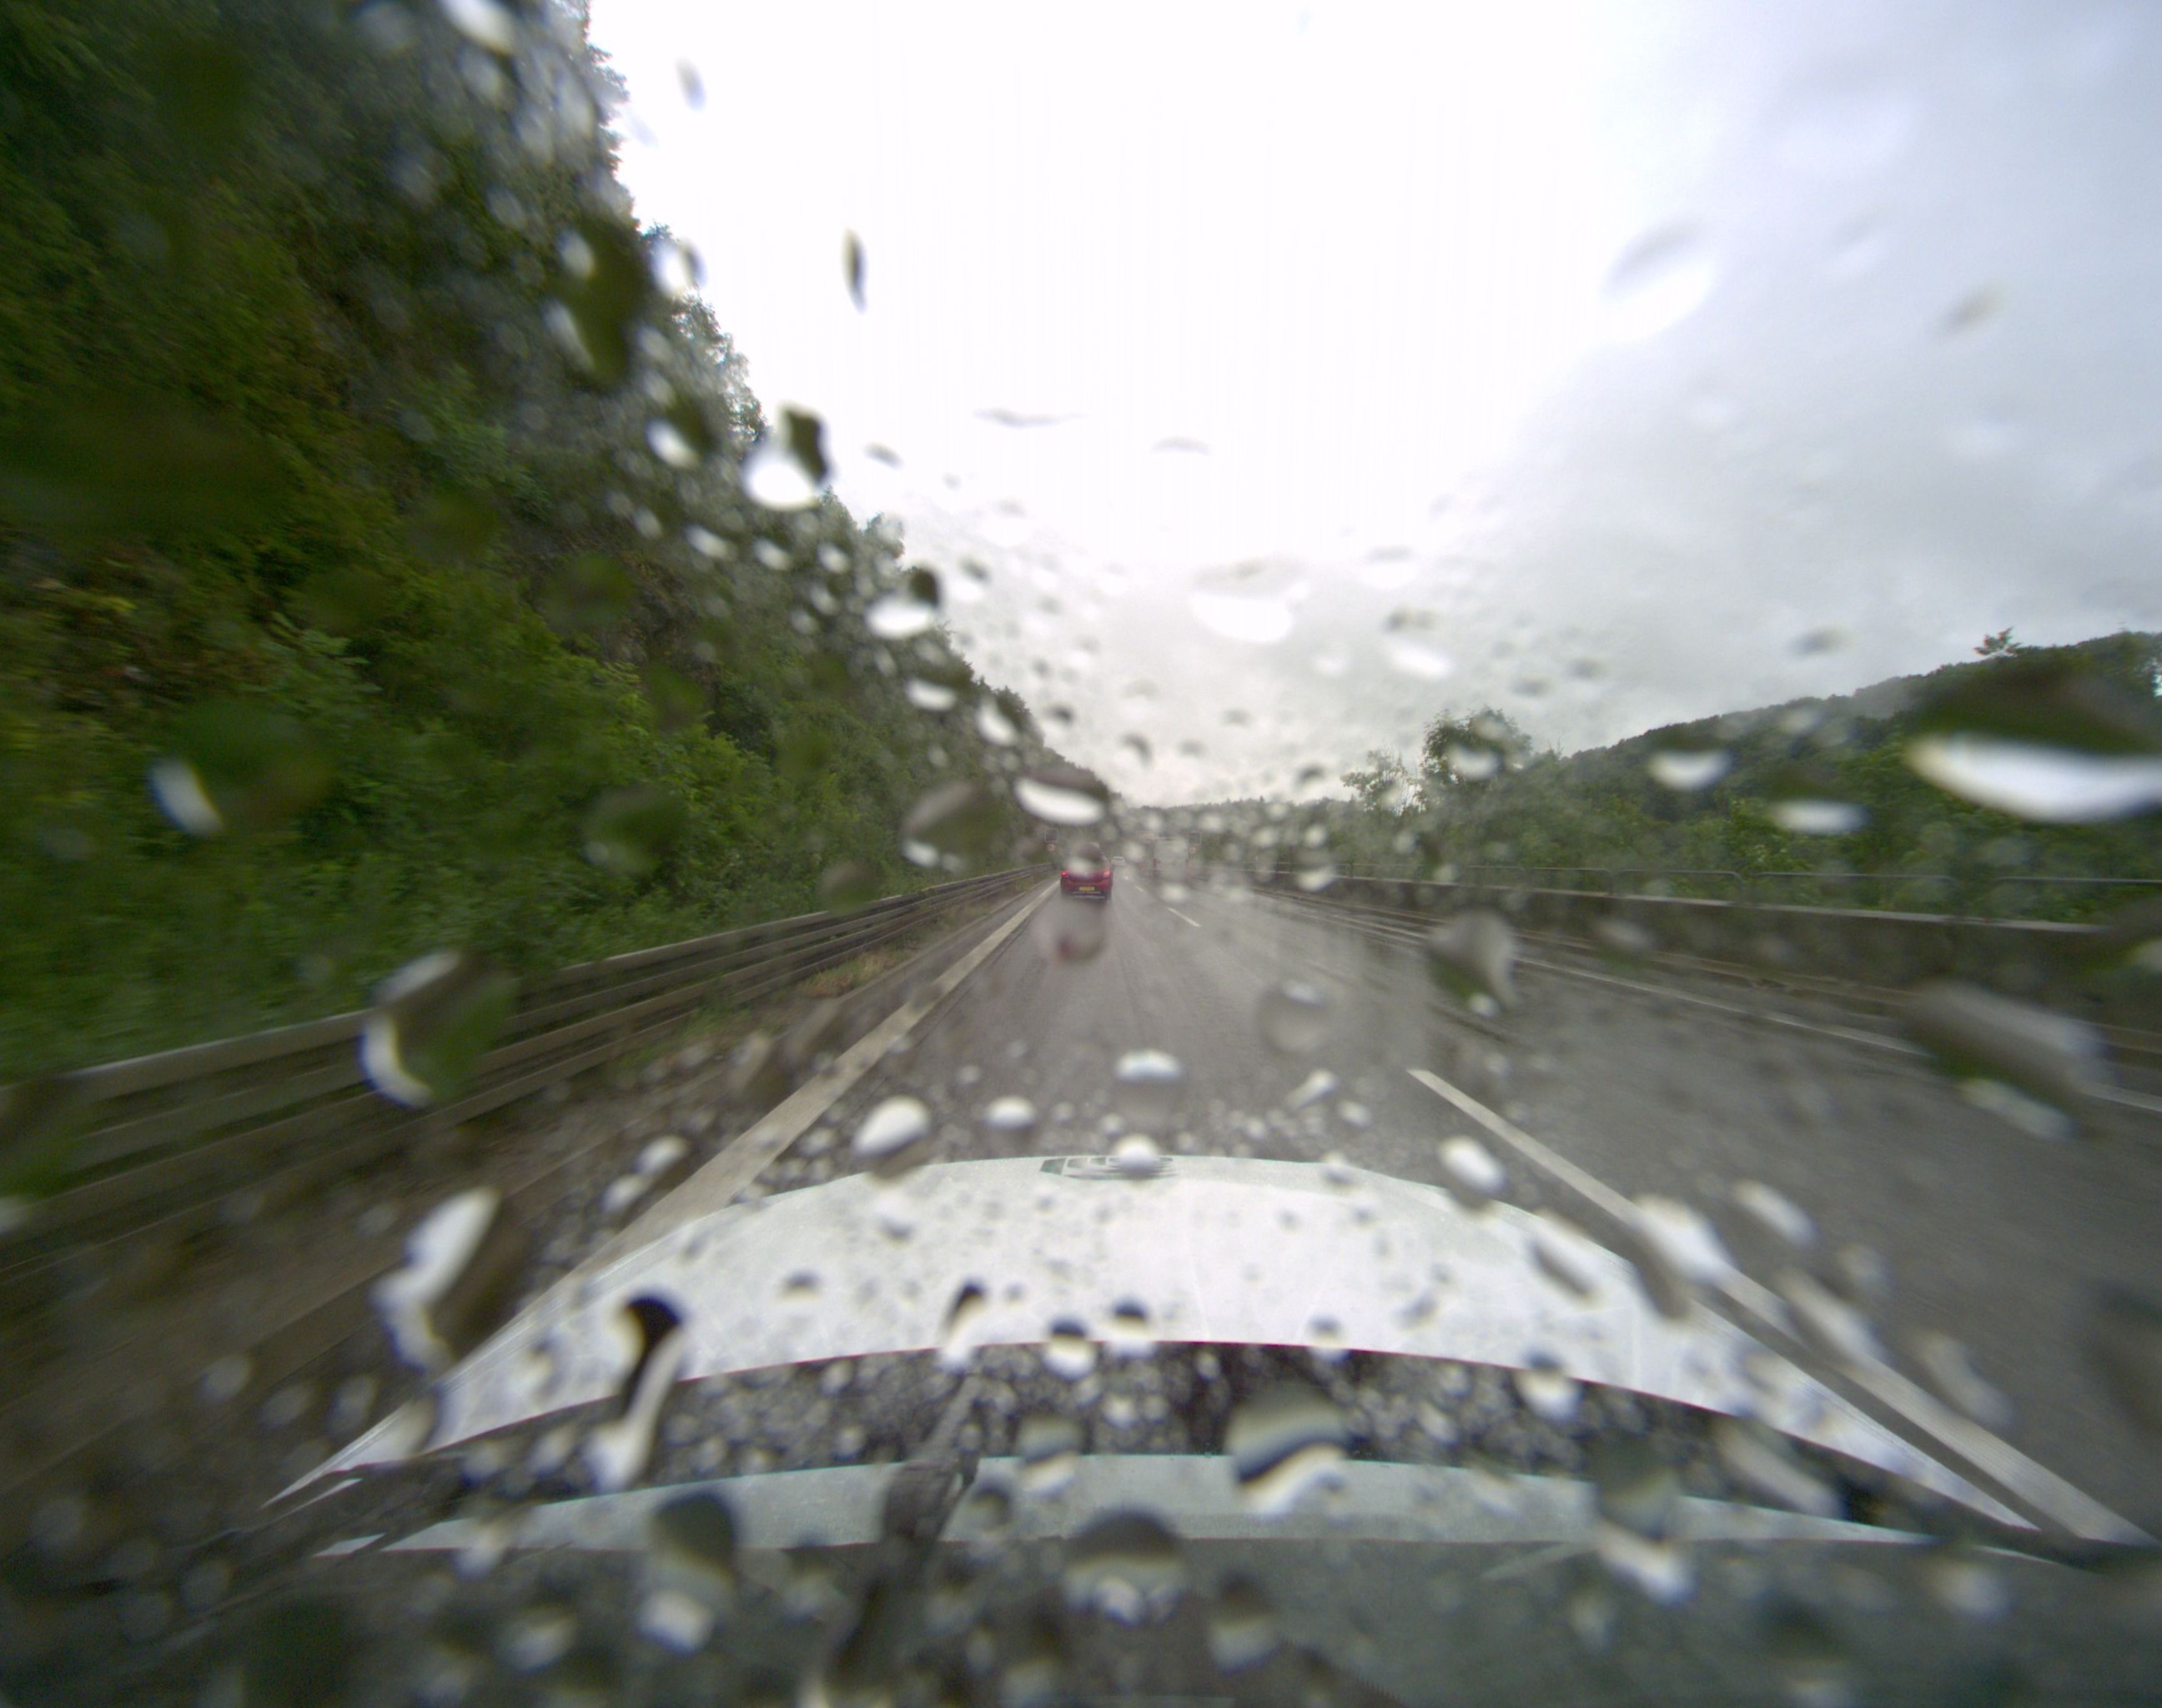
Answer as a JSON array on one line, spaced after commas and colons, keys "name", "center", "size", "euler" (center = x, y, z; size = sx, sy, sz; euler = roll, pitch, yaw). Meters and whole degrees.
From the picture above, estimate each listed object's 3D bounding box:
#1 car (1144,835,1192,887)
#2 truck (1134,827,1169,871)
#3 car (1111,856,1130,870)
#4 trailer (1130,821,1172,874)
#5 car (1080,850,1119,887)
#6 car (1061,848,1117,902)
[{"name": "car", "center": [5.057, 0.372, 48.277], "size": [2.198, 2.794, 7.384], "euler": [1, 0, 1]}, {"name": "truck", "center": [6.626, -0.424, 76.466], "size": [3.204, 3.978, 5.447], "euler": [0, -1, 5]}, {"name": "car", "center": [4.894, 1.101, 100.168], "size": [1.983, 1.639, 4.007], "euler": [-2, -1, 7]}, {"name": "trailer", "center": [5.943, -0.468, 69.035], "size": [3.203, 3.999, 13.541], "euler": [0, 0, 5]}, {"name": "car", "center": [0.954, 0.715, 40.963], "size": [1.826, 1.715, 3.646], "euler": [-2, -1, 2]}, {"name": "car", "center": [0.304, 0.716, 28.478], "size": [1.752, 1.684, 4.001], "euler": [-2, -1, 1]}]
